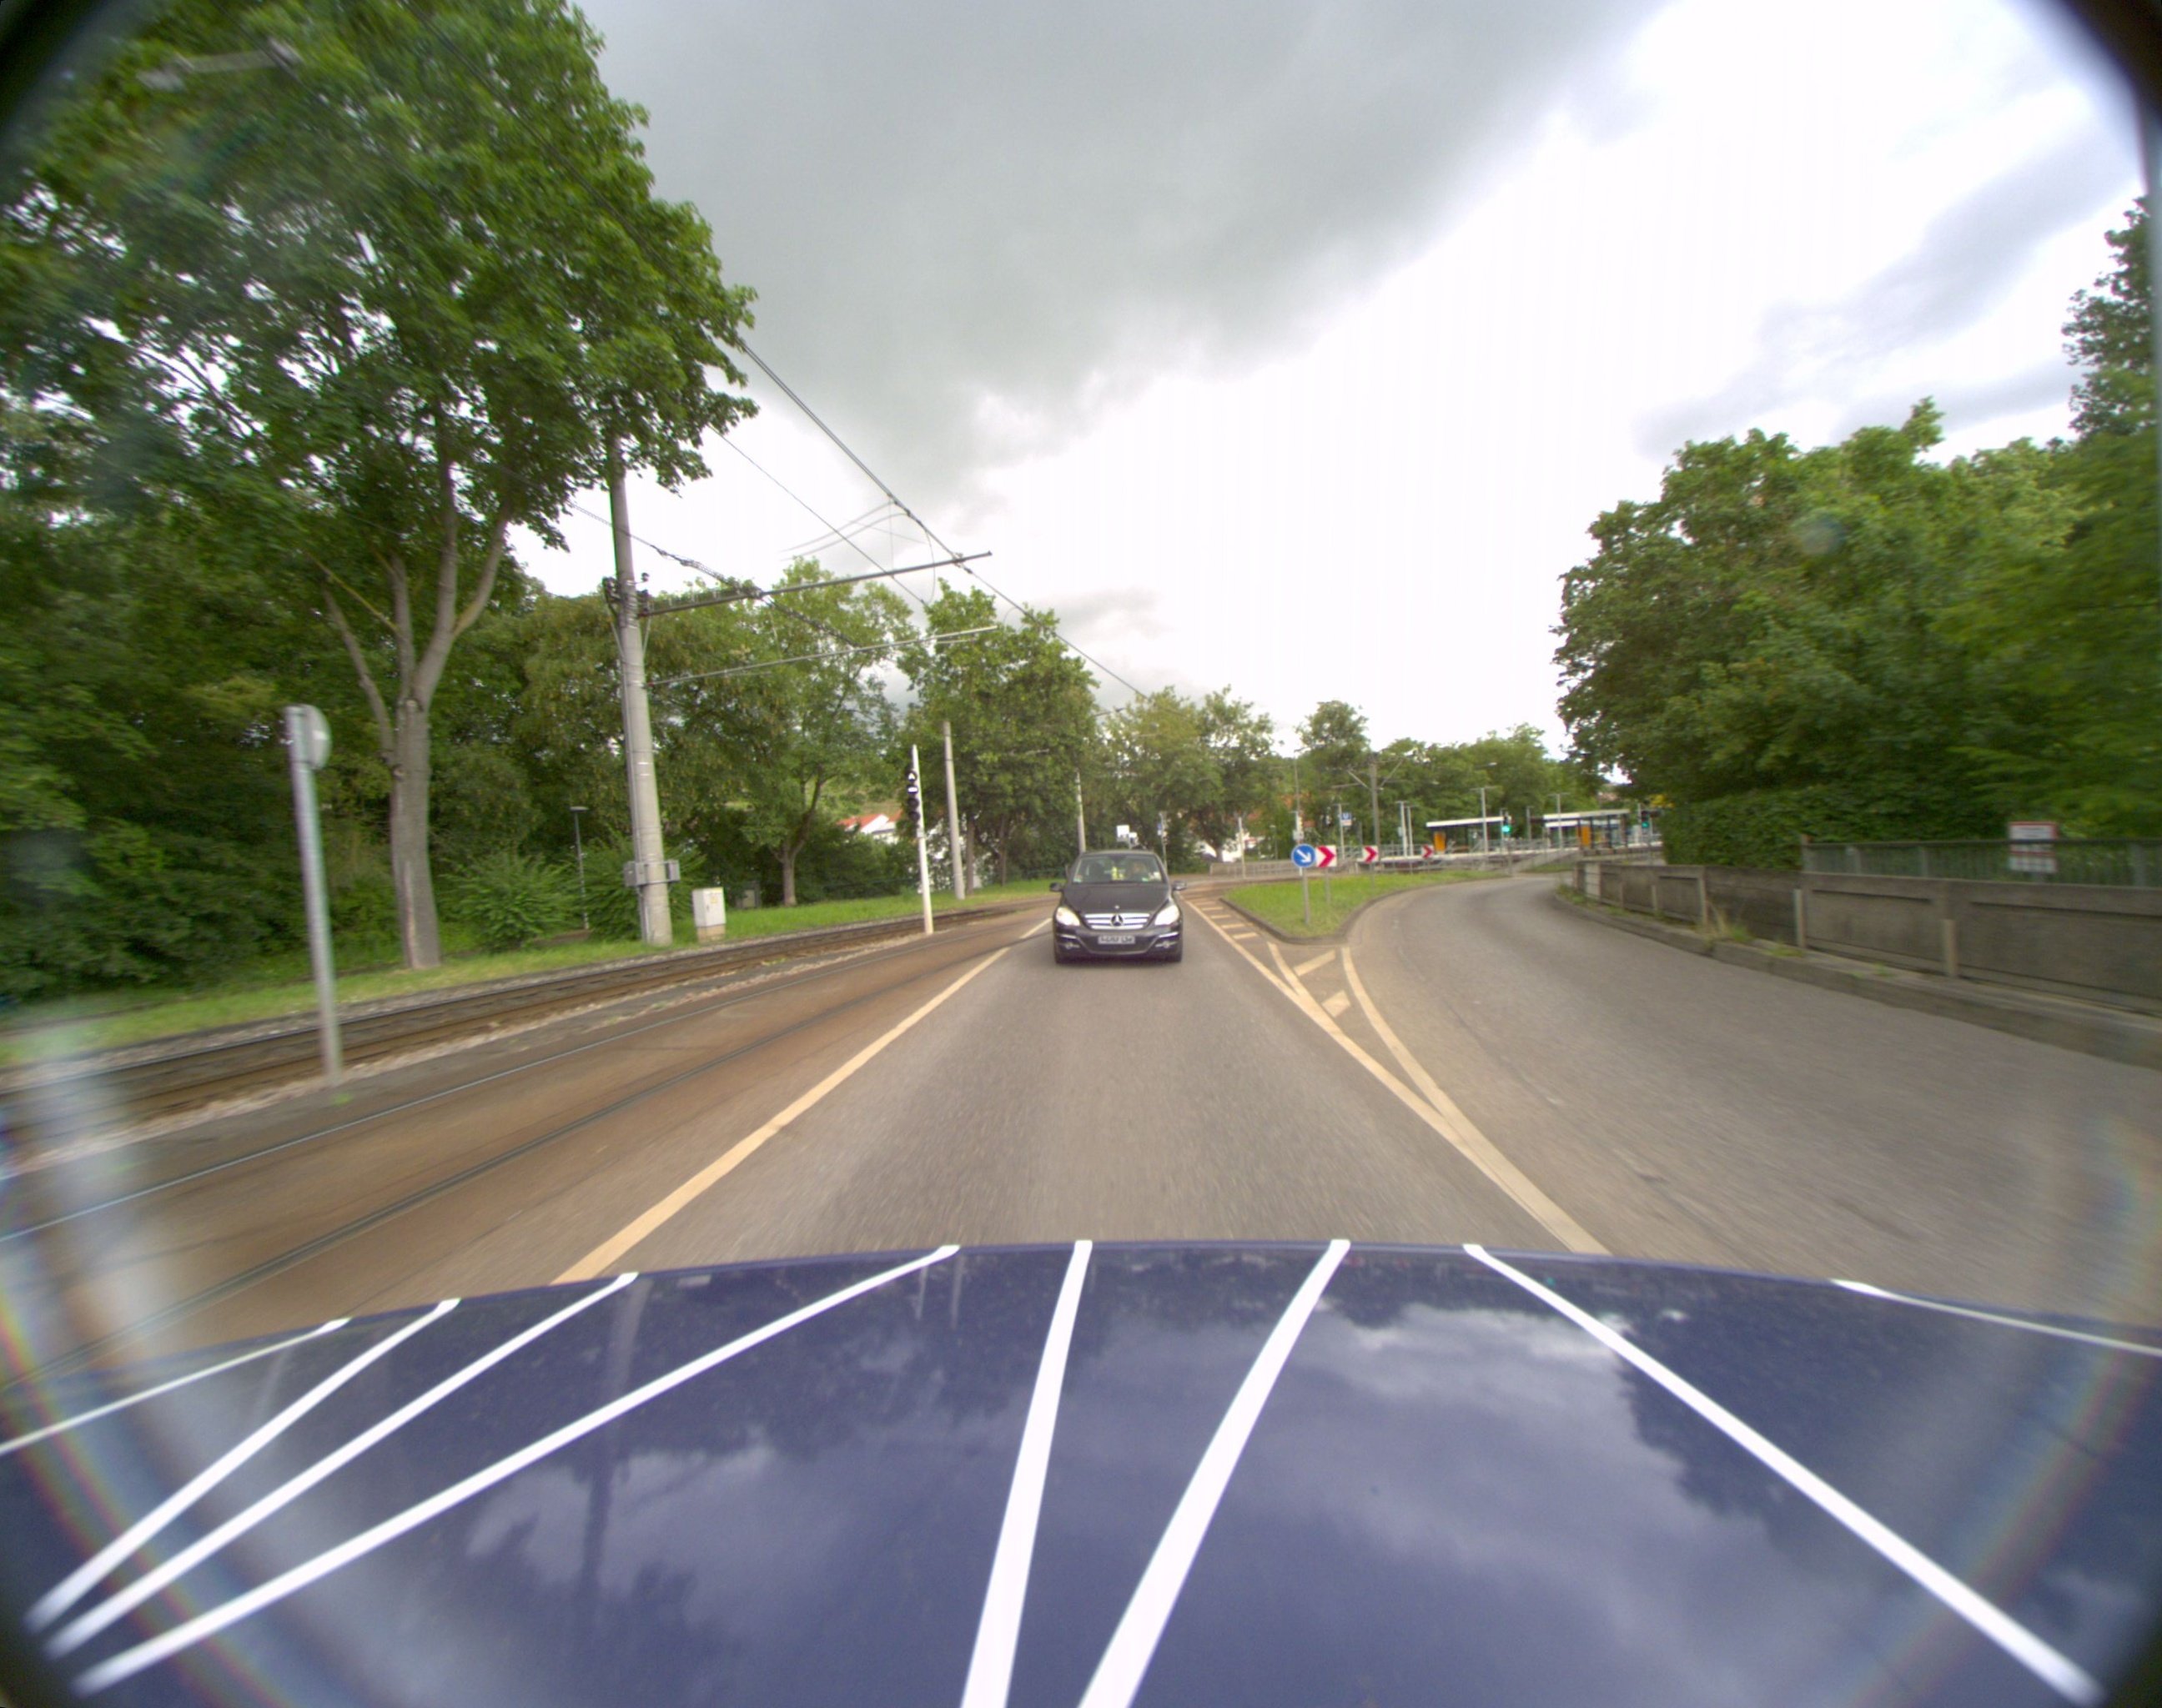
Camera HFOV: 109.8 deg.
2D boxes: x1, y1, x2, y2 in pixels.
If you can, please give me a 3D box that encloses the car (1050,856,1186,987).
[{"bbox_3d":[0.652,0.867,11.842,1.711,1.574,4.443,-1,1,5],"label":"car"}]
